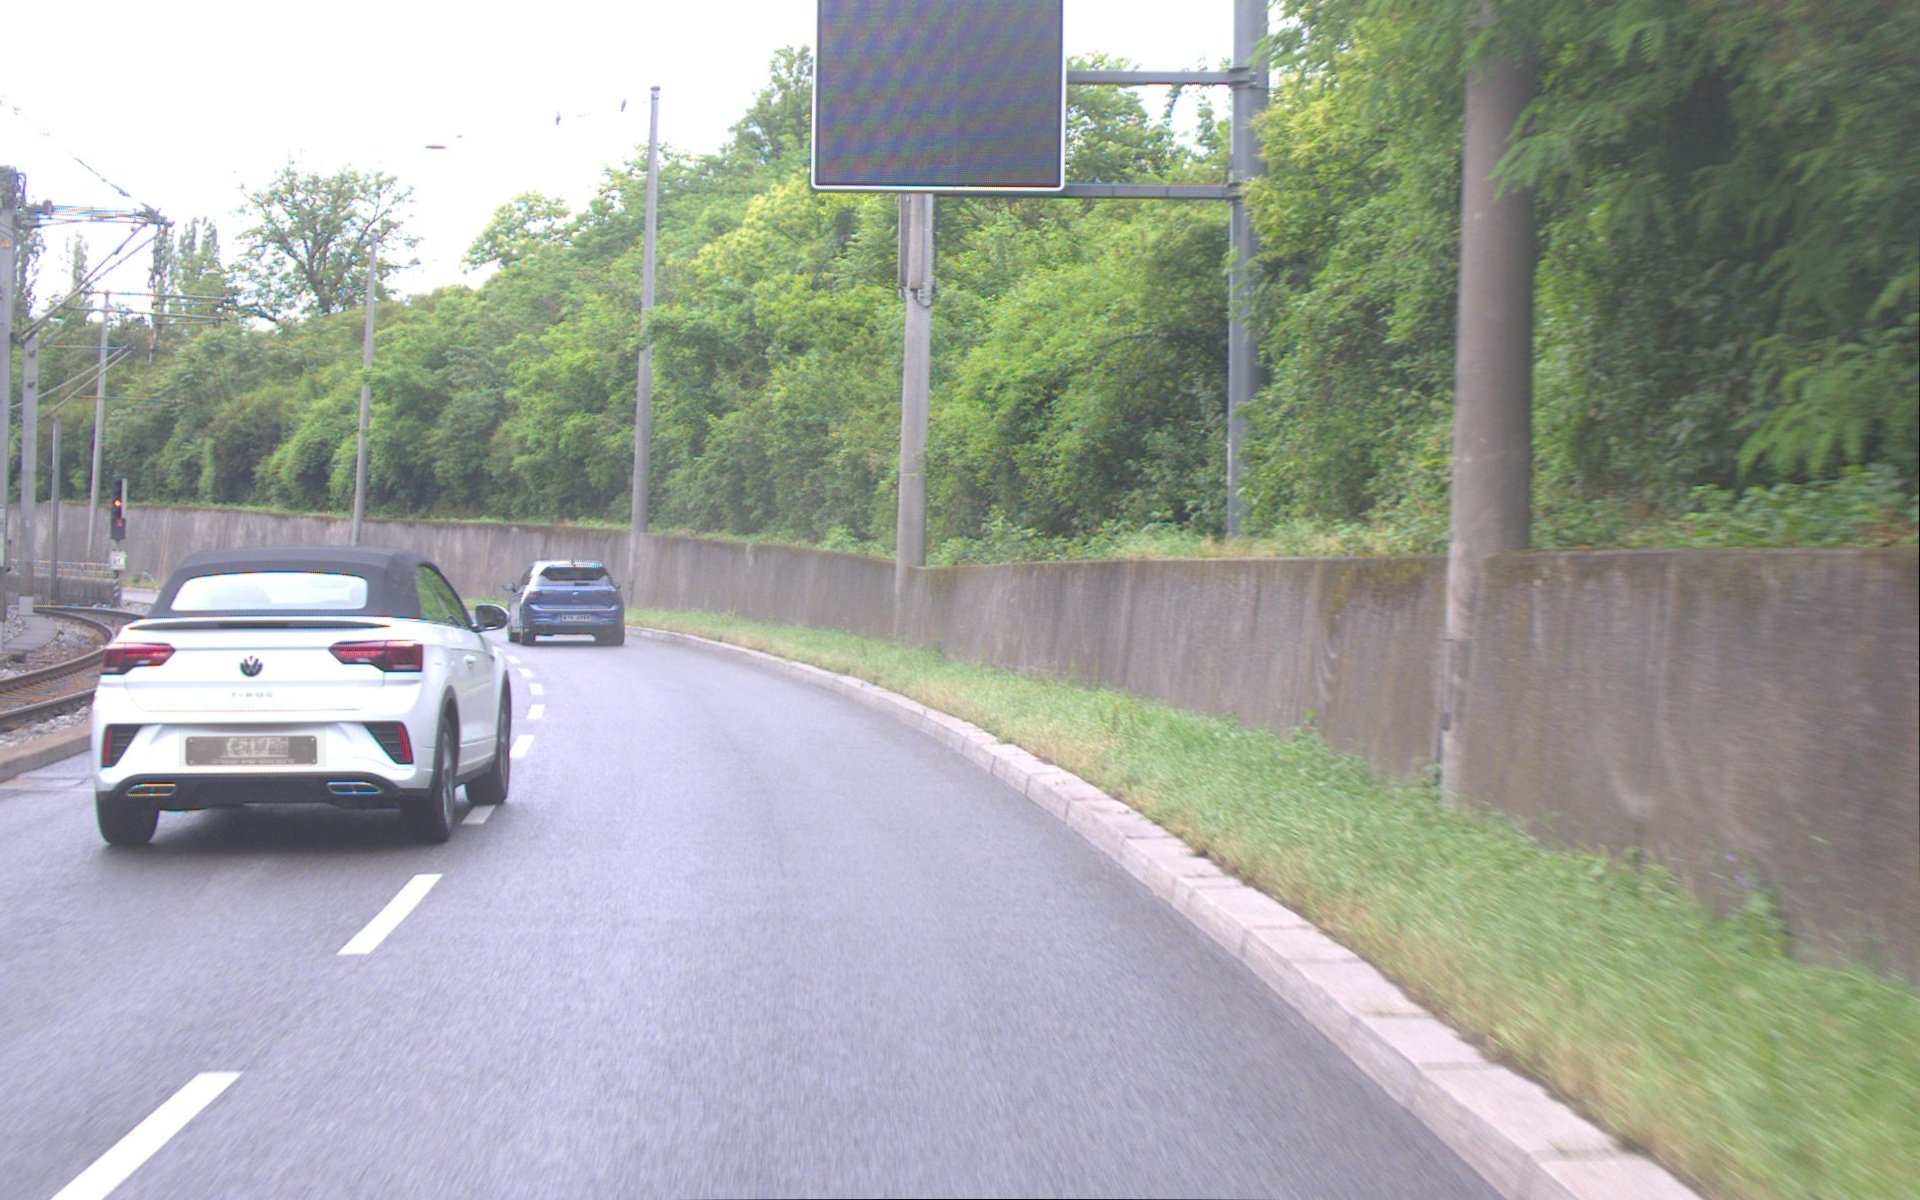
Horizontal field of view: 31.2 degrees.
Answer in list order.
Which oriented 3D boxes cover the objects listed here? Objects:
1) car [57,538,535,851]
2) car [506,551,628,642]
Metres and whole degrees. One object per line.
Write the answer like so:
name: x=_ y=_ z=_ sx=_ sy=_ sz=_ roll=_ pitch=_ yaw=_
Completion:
car: x=-3.506 y=0.426 z=18.983 sx=1.871 sy=1.519 sz=4.540 roll=0 pitch=1 yaw=-2
car: x=-6.827 y=-0.084 z=59.418 sx=1.763 sy=1.496 sz=4.001 roll=1 pitch=1 yaw=-11
